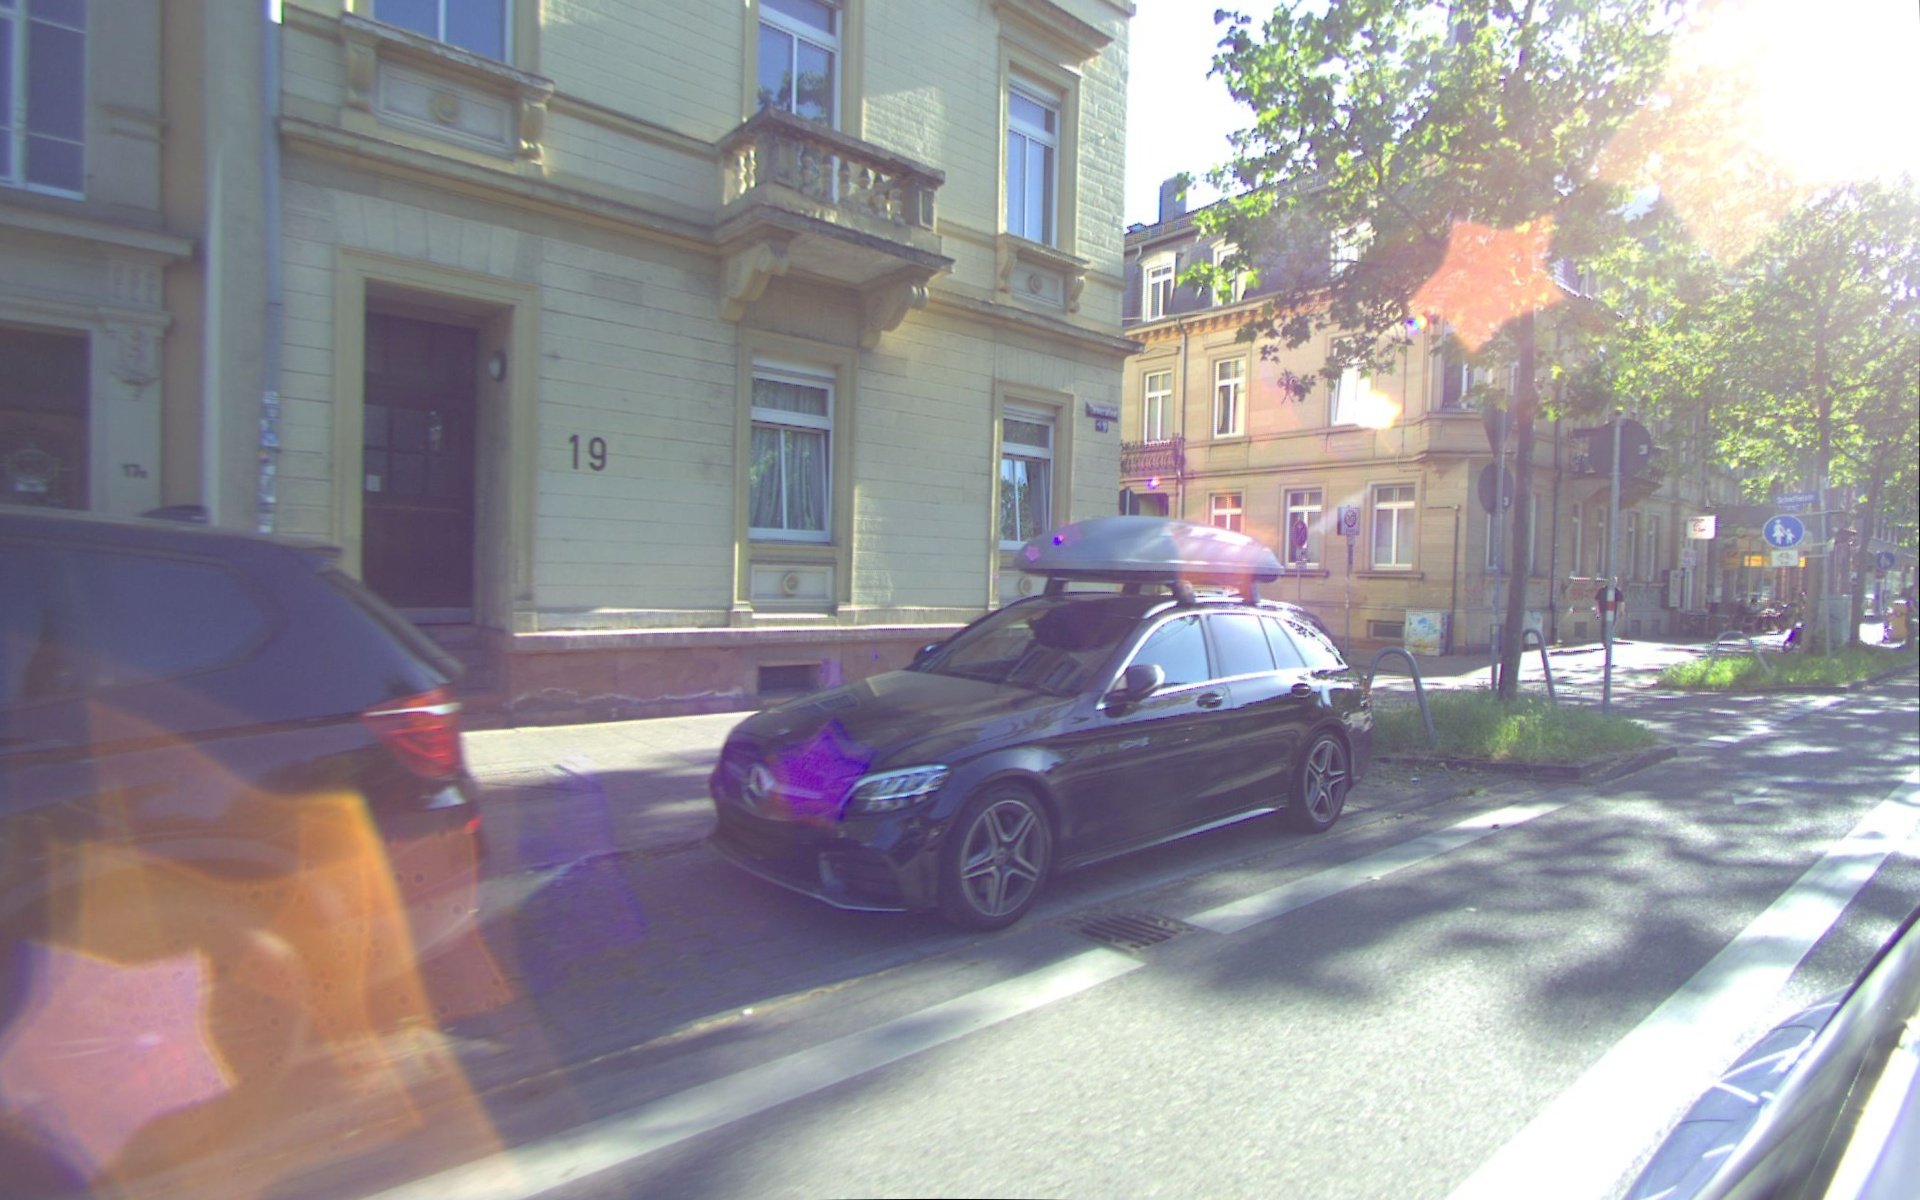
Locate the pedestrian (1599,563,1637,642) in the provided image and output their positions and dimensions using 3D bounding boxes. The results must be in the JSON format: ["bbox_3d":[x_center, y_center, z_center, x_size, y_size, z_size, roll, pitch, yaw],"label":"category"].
[{"bbox_3d":[15.823,0.057,24.350,0.943,1.850,0.564,1,-1,-44],"label":"pedestrian"}]

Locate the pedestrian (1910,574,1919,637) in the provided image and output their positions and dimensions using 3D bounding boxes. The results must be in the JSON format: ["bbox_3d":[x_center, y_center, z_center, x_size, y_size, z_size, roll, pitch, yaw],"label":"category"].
[{"bbox_3d":[27.812,0.154,29.026,0.852,1.794,0.644,1,-1,-34],"label":"pedestrian"}]

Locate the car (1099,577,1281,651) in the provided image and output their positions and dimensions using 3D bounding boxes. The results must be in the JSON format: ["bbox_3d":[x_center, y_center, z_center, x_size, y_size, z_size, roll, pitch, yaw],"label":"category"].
[{"bbox_3d":[5.334,0.260,23.895,1.618,1.523,4.069,1,2,-38],"label":"car"}]

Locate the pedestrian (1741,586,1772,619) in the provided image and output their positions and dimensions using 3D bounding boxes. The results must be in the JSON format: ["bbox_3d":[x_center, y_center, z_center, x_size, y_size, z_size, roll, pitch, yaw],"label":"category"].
[{"bbox_3d":[28.789,0.099,36.607,0.643,1.176,0.671,0,-1,14],"label":"pedestrian"}]

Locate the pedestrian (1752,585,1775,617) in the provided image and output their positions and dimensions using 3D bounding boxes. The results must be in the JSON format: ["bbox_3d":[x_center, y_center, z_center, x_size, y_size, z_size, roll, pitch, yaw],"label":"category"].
[{"bbox_3d":[29.812,0.046,37.558,0.644,1.176,0.602,0,-1,39],"label":"pedestrian"}]

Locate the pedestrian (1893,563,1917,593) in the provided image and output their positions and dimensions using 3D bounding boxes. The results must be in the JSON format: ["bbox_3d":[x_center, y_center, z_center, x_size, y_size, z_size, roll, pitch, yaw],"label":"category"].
[{"bbox_3d":[59.848,-1.390,64.093,0.702,1.863,1.002,0,1,-38],"label":"pedestrian"}]

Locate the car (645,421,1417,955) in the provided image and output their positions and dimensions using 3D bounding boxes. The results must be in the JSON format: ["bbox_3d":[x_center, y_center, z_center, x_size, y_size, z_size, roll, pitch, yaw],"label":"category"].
[{"bbox_3d":[0.745,0.314,5.965,4.654,1.989,1.758,0,1,-41],"label":"car"}]

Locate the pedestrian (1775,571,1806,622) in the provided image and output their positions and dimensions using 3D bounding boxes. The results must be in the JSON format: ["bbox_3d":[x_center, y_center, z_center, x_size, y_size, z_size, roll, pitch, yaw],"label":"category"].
[{"bbox_3d":[30.288,-0.129,36.918,0.758,1.833,0.470,0,-1,-9],"label":"pedestrian"}]

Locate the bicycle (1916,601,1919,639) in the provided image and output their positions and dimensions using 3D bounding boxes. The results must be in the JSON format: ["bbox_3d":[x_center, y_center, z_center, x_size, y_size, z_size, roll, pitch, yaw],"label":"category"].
[{"bbox_3d":[25.294,0.522,26.347,1.719,0.982,0.428,1,-1,-41],"label":"bicycle"}]

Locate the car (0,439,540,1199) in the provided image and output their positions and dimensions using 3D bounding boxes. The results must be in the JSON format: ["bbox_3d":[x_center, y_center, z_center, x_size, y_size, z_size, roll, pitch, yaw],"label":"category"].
[{"bbox_3d":[-3.605,0.486,2.212,4.654,1.721,1.801,0,1,-41],"label":"car"}]

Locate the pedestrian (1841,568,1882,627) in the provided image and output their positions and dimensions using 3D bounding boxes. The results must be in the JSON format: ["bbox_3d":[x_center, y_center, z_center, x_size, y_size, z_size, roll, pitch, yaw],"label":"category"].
[{"bbox_3d":[31.254,-0.085,35.091,0.840,2.039,0.884,1,-1,-37],"label":"pedestrian"}]

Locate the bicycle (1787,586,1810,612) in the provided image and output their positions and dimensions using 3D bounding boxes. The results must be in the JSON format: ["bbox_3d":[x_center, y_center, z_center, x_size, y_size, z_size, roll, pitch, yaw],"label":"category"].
[{"bbox_3d":[33.566,-0.042,40.500,1.659,1.006,0.443,1,-1,-42],"label":"bicycle"}]
